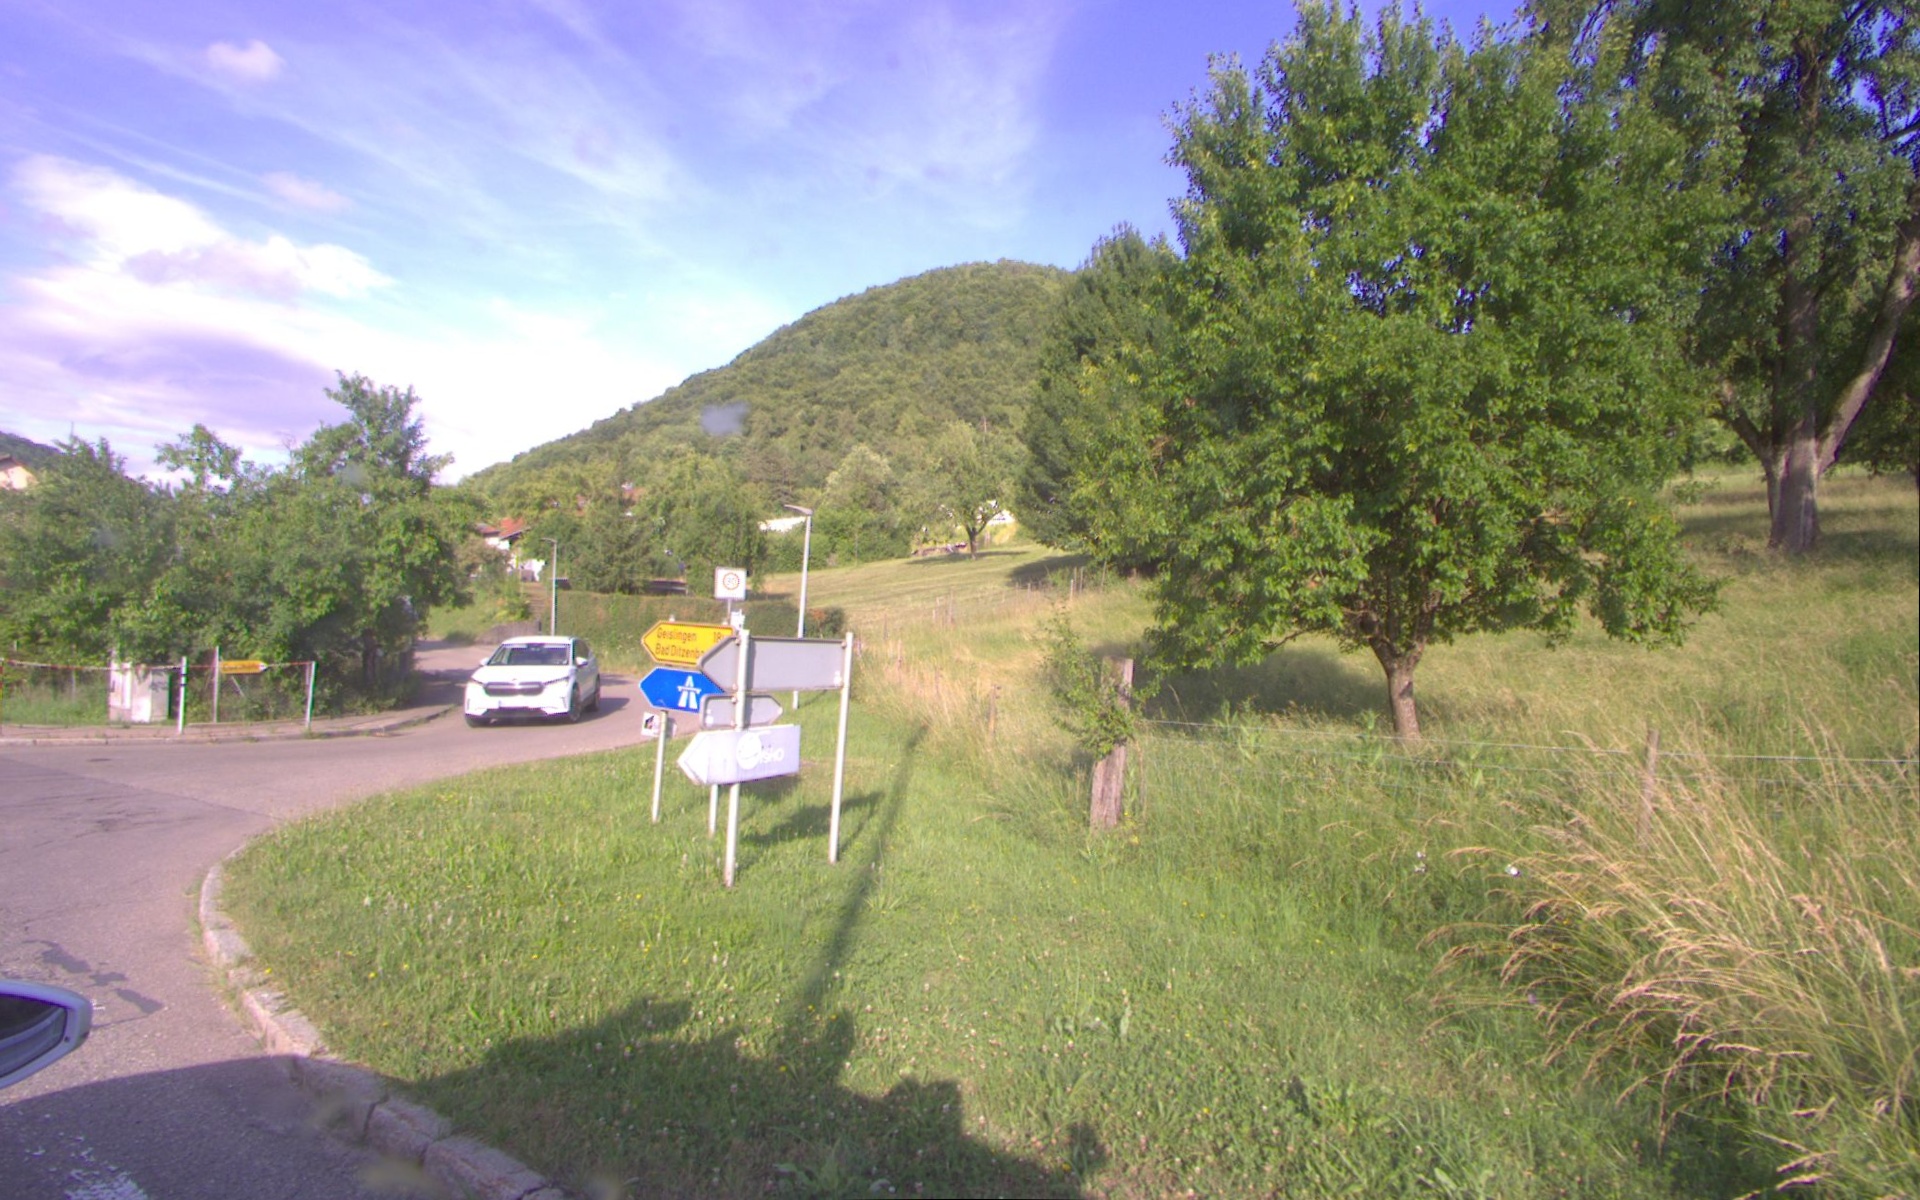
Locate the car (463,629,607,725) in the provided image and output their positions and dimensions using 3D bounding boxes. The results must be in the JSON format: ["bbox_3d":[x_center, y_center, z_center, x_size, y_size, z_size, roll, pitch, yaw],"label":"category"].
[{"bbox_3d":[-8.311,1.439,19.982,1.839,1.631,4.567,2,-1,-13],"label":"car"}]
